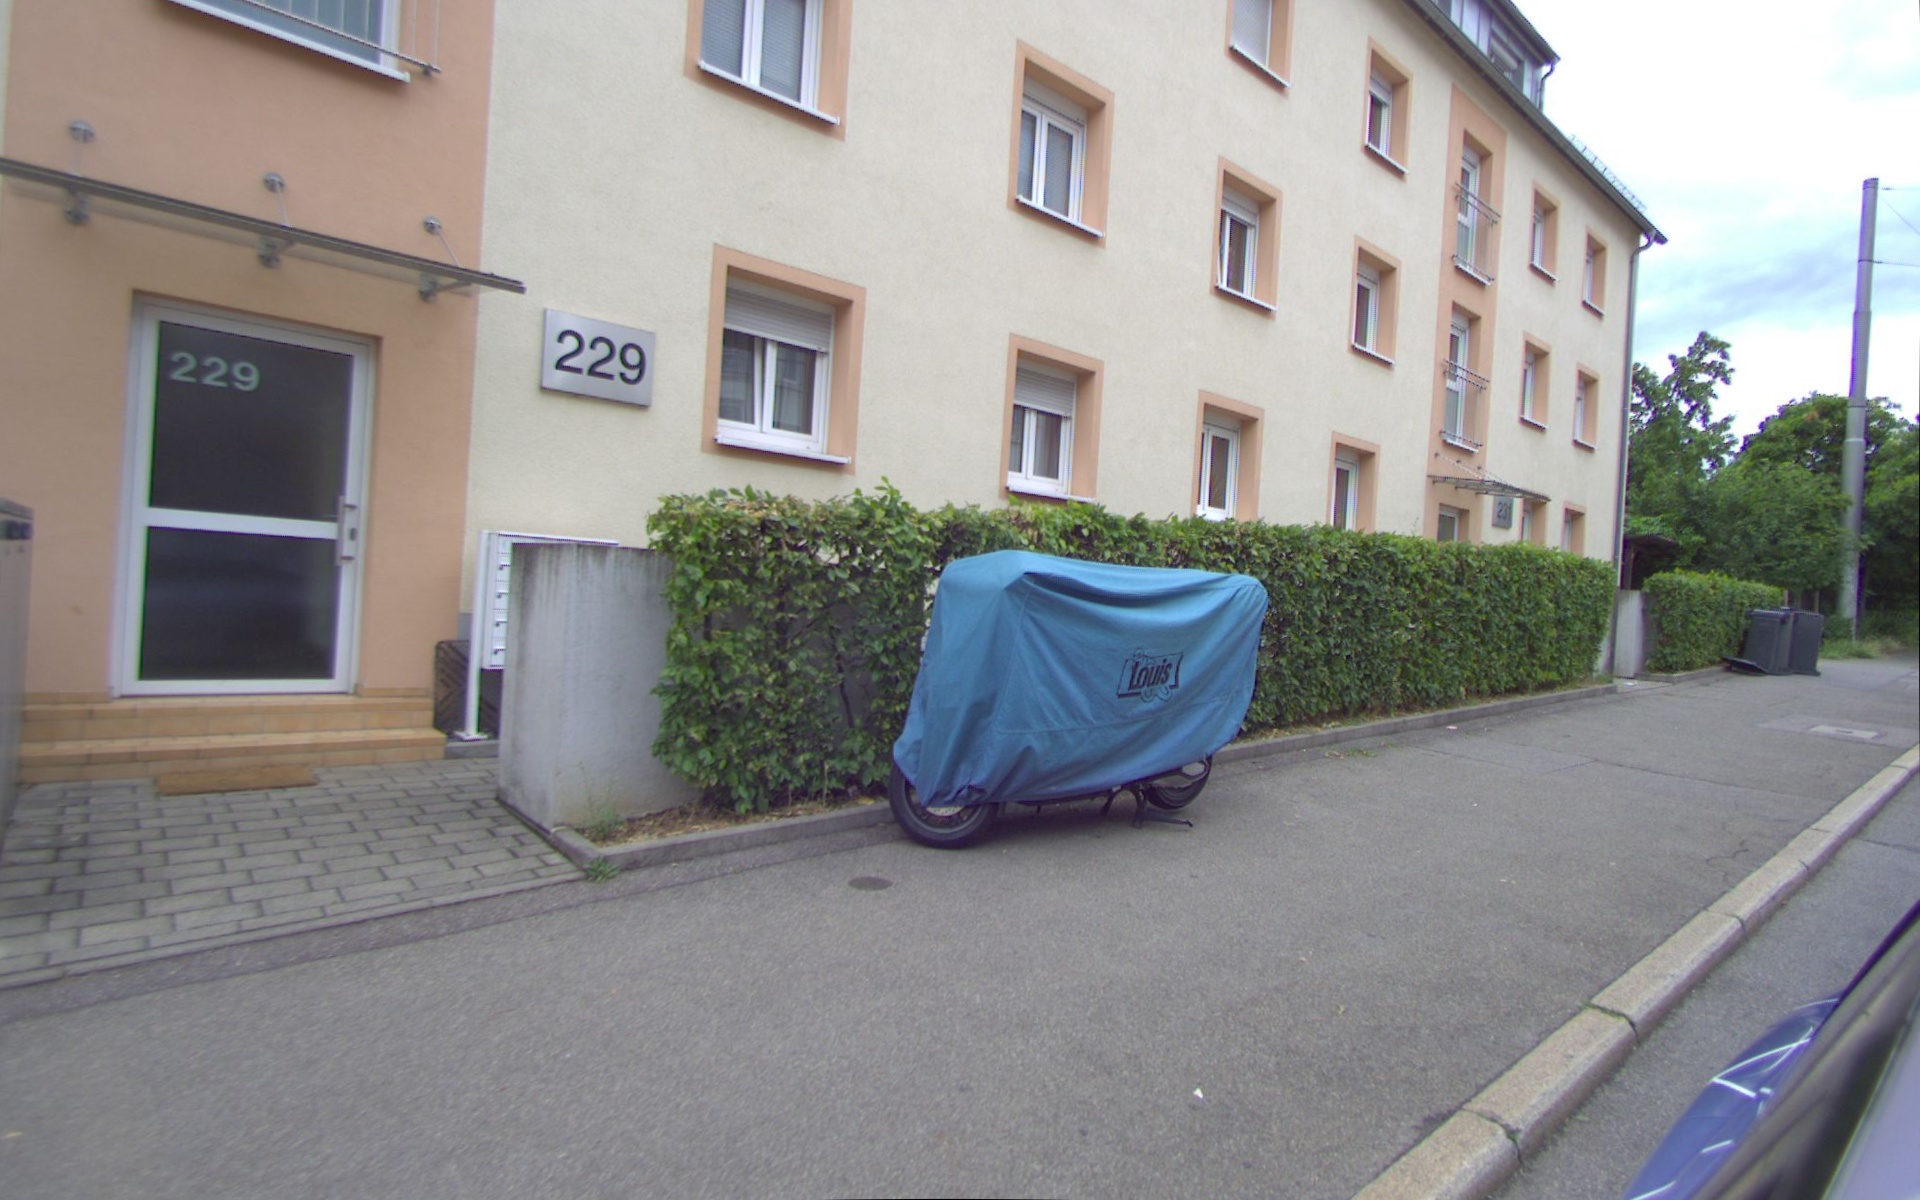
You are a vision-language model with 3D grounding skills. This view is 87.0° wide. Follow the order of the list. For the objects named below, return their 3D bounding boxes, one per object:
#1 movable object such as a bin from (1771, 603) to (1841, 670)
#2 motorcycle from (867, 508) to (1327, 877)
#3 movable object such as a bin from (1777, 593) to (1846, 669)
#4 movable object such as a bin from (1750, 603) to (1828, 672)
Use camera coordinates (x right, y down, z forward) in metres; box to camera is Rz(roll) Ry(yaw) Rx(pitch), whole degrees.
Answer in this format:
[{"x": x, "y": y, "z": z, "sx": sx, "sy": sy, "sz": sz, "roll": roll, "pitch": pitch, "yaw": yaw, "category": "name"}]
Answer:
[{"x": 13.977, "y": 0.590, "z": 16.719, "sx": 0.776, "sy": 1.024, "sz": 0.792, "roll": 0, "pitch": 2, "yaw": -44, "category": "movable object such as a bin"}, {"x": 0.805, "y": 0.344, "z": 5.170, "sx": 2.507, "sy": 1.474, "sz": 0.840, "roll": 0, "pitch": 2, "yaw": -40, "category": "motorcycle"}, {"x": 14.543, "y": 0.508, "z": 17.285, "sx": 0.776, "sy": 1.233, "sz": 0.792, "roll": 0, "pitch": 2, "yaw": -44, "category": "movable object such as a bin"}, {"x": 13.308, "y": 0.581, "z": 16.250, "sx": 0.775, "sy": 1.024, "sz": 0.794, "roll": 0, "pitch": 2, "yaw": -39, "category": "movable object such as a bin"}]
